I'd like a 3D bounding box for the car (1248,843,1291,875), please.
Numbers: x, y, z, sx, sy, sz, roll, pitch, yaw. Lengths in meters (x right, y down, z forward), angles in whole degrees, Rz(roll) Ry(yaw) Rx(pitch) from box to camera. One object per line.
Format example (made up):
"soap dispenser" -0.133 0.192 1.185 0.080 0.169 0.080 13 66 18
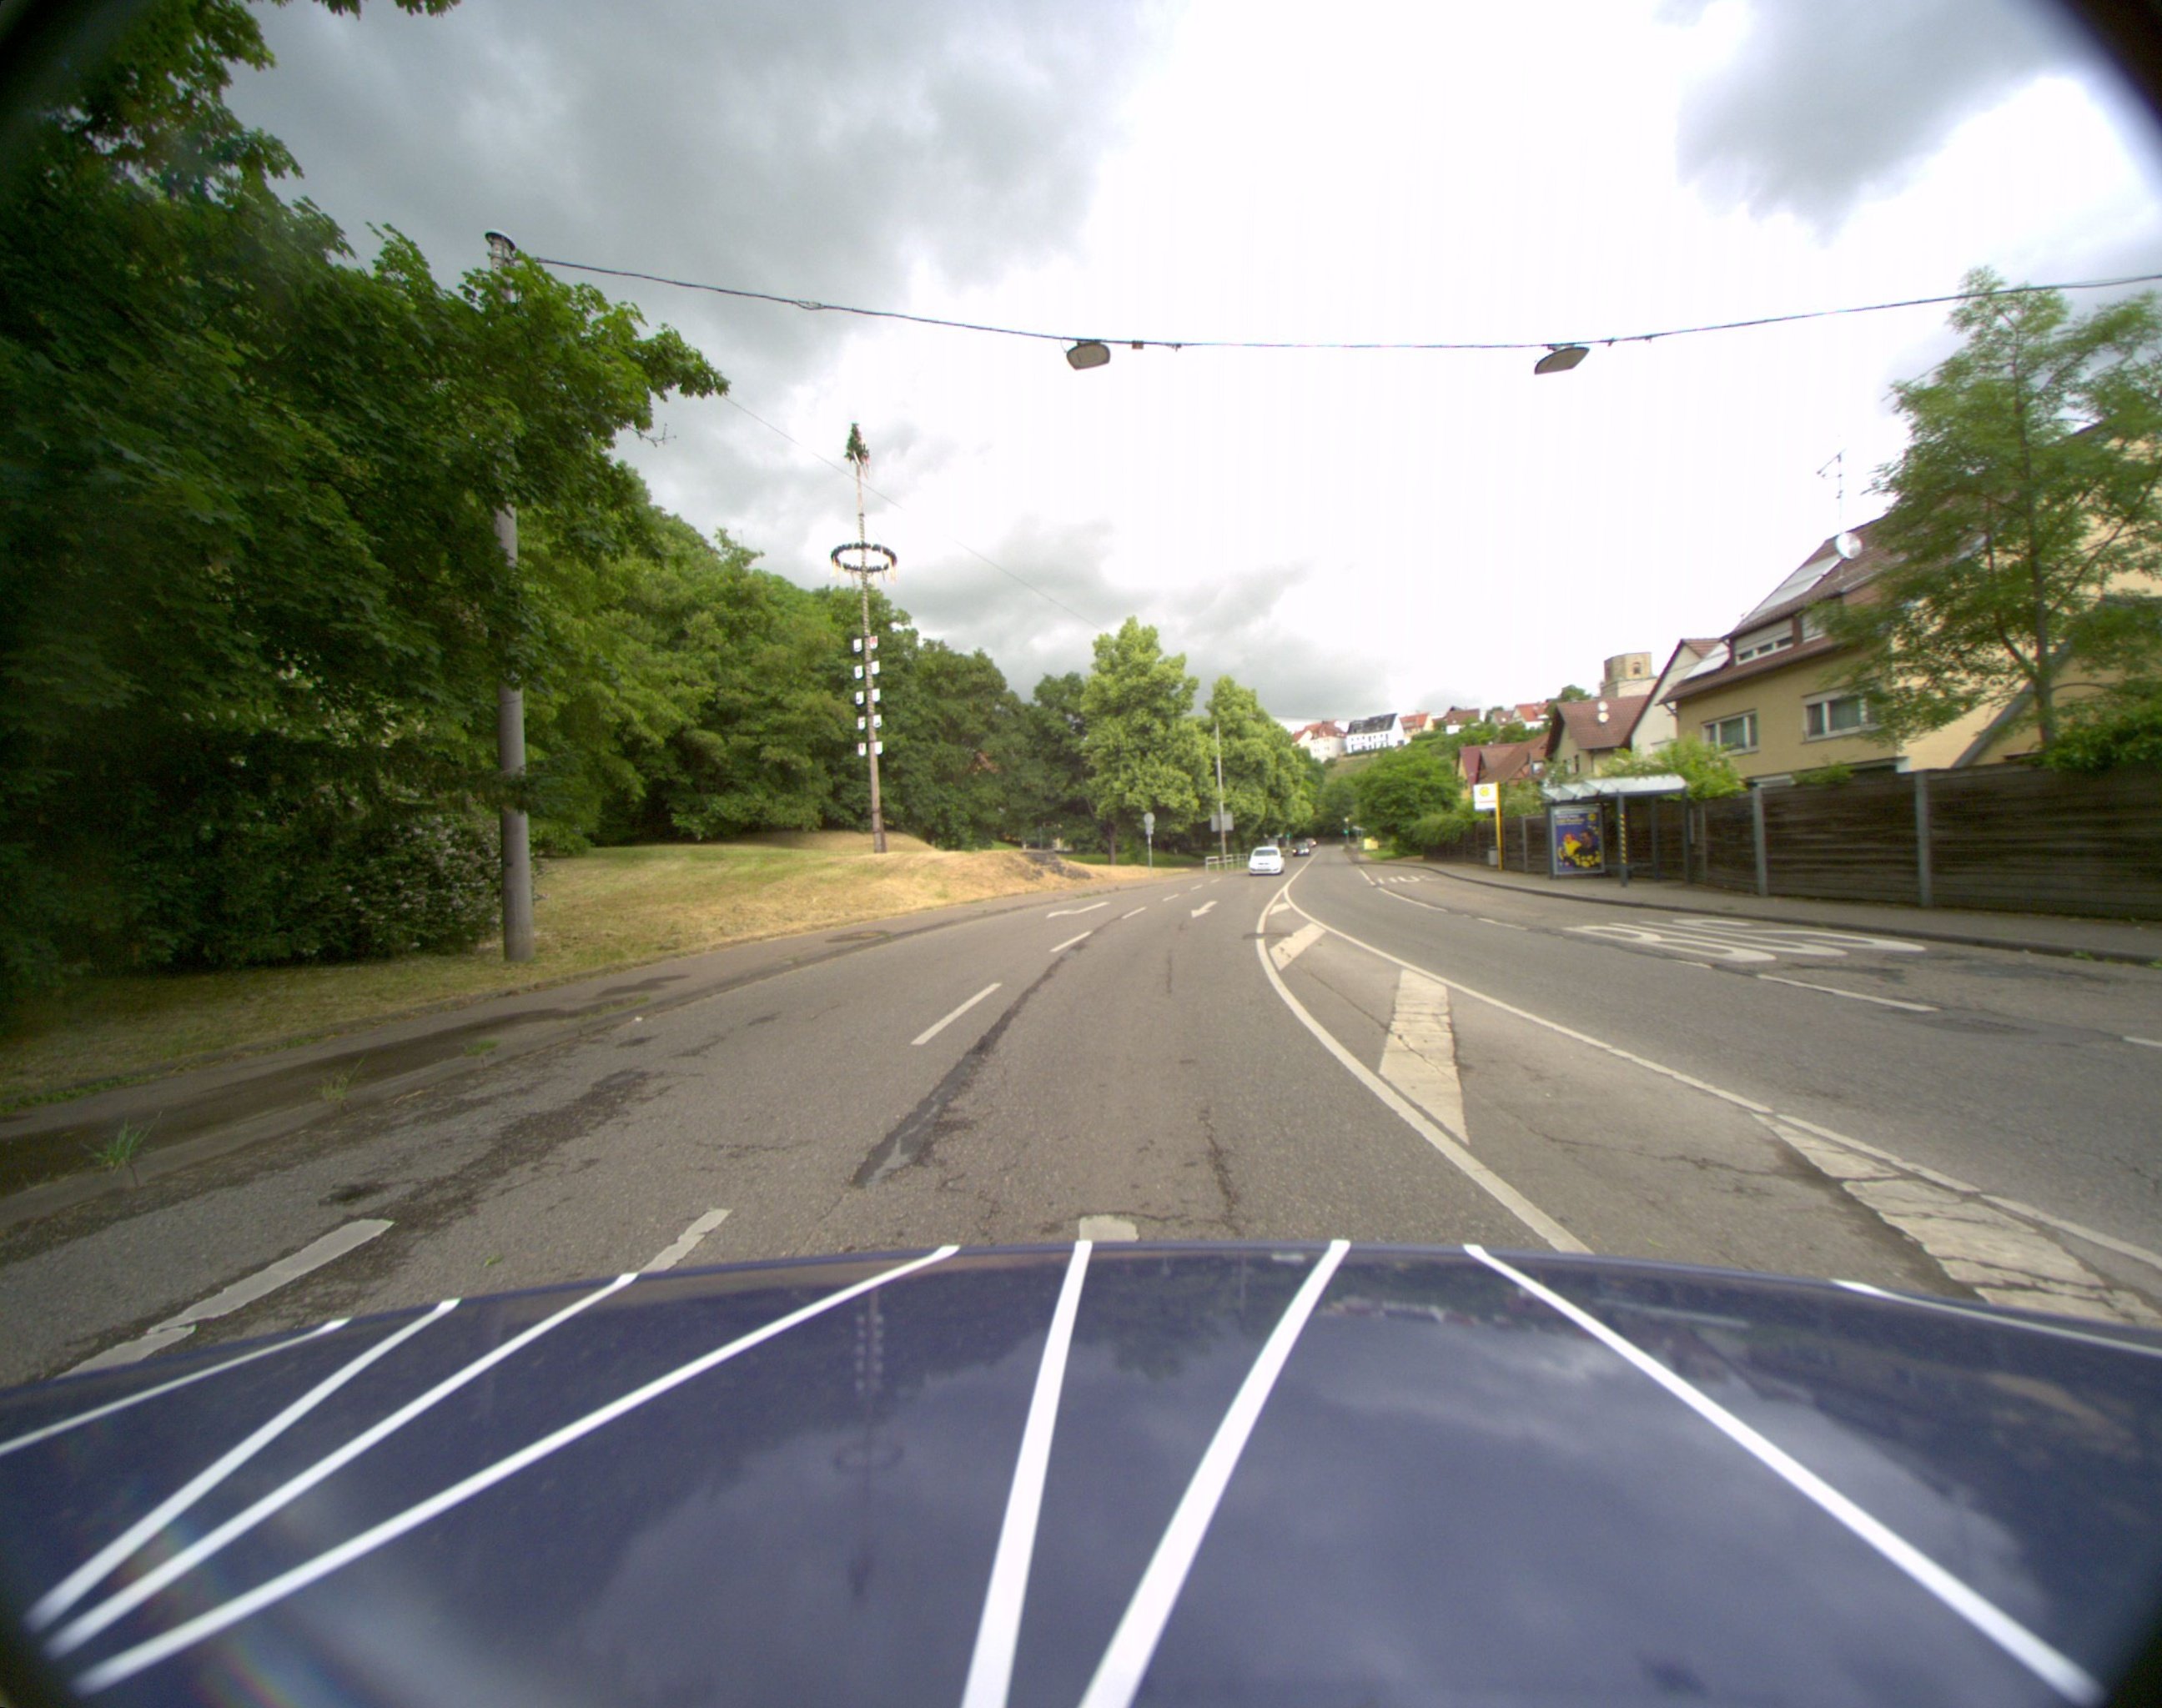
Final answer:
"car" 10.135 0.236 40.789 1.761 1.516 3.688 -2 1 21

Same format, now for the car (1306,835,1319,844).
"car" 42.562 -2.703 139.576 1.762 1.575 3.686 -2 1 11

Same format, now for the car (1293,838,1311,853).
"car" 24.687 -0.942 84.822 1.761 1.575 3.687 -2 1 17
